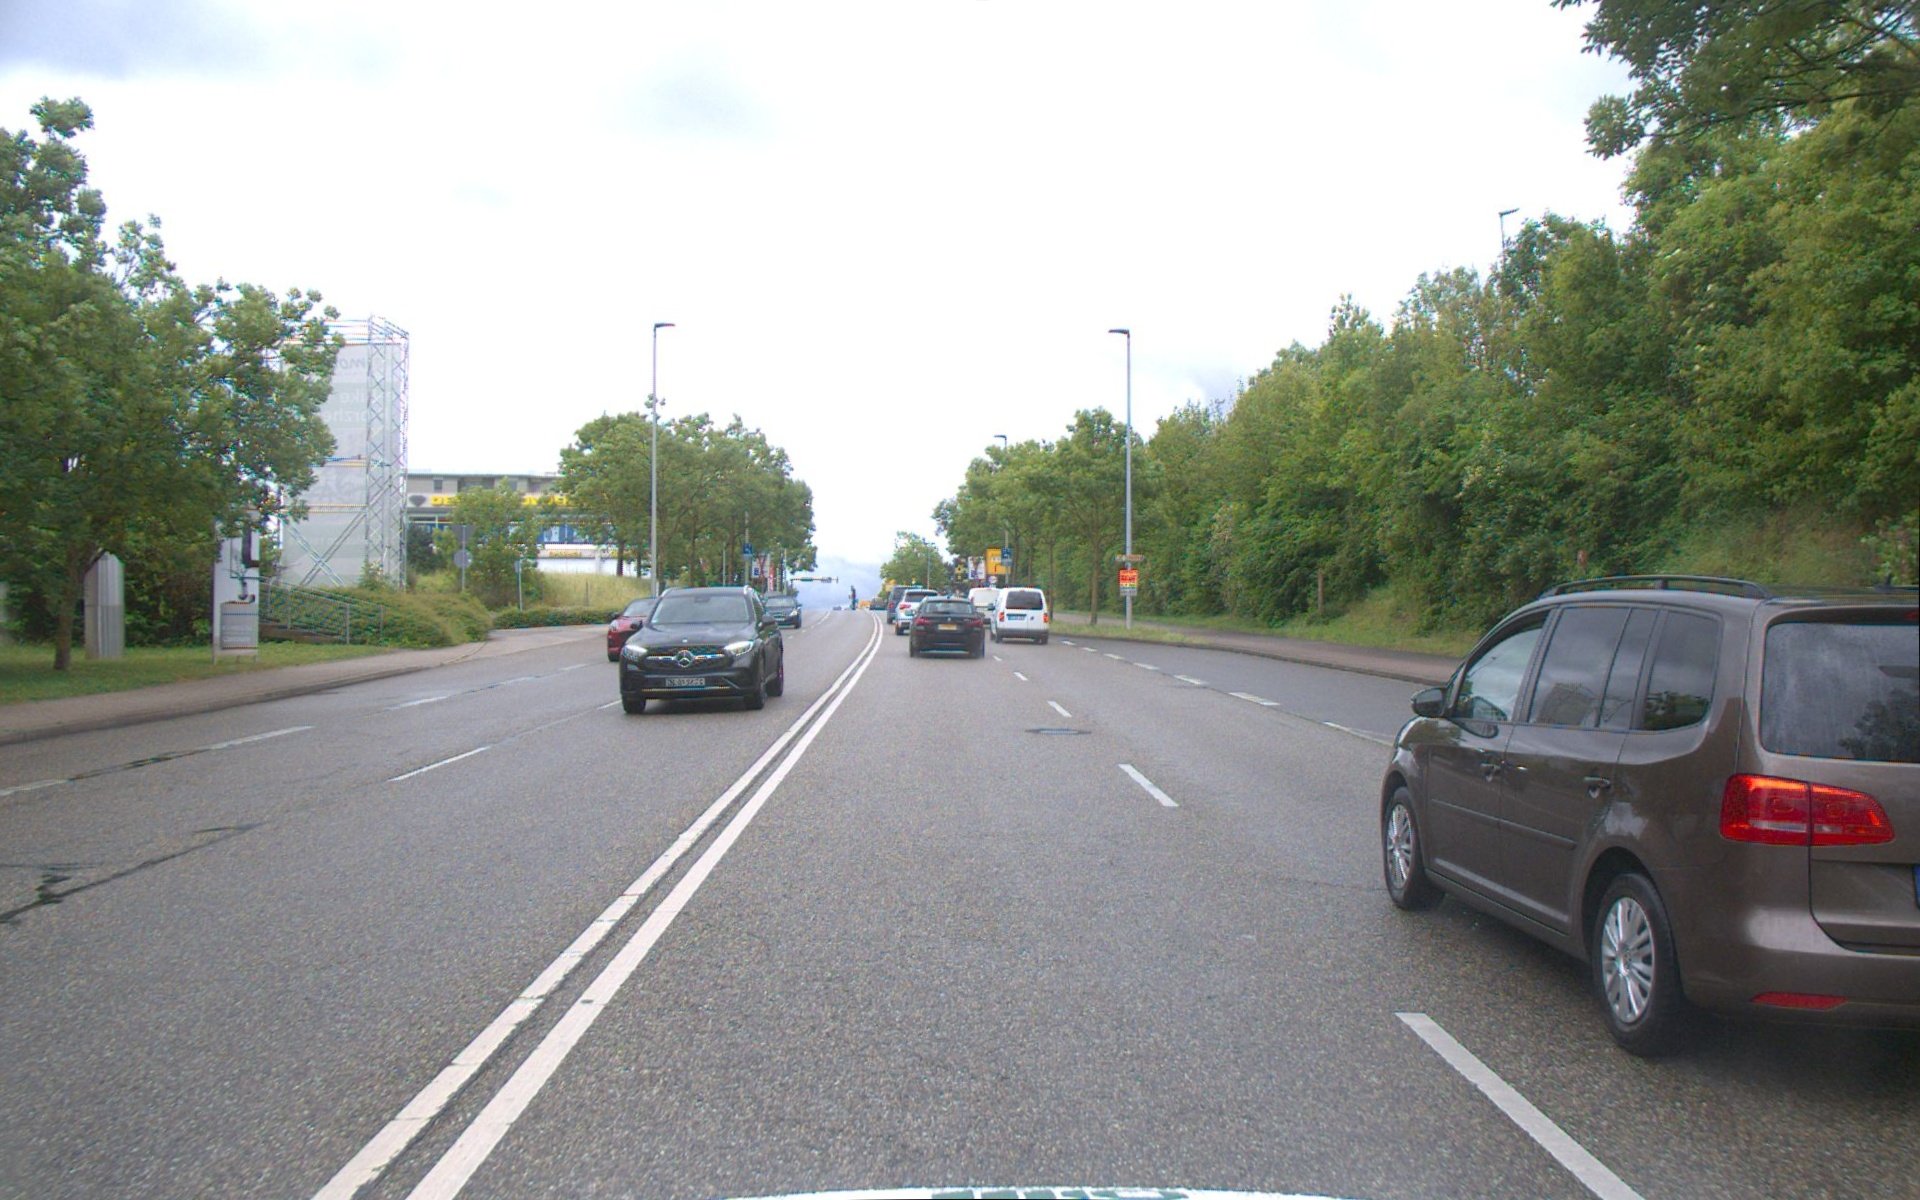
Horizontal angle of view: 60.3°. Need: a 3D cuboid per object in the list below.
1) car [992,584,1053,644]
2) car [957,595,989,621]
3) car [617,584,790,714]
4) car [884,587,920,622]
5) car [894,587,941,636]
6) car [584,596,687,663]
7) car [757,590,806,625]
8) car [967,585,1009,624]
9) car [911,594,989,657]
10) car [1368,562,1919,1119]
[{"bbox_3d":[2.036,0.448,55.156,1.706,1.902,3.944,1,0,-2],"label":"car"},{"bbox_3d":[0.712,0.454,92.539,1.568,1.396,3.678,-1,0,-3],"label":"car"},{"bbox_3d":[-3.494,0.610,23.282,1.821,1.605,4.319,-2,0,-1],"label":"car"},{"bbox_3d":[-2.893,0.215,82.417,1.723,1.738,3.944,0,0,-2],"label":"car"},{"bbox_3d":[-1.555,0.418,61.494,1.693,1.741,3.382,1,0,-1],"label":"car"},{"bbox_3d":[-8.086,0.701,41.517,1.641,1.533,4.217,-1,0,1],"label":"car"},{"bbox_3d":[-8.211,0.330,76.301,1.701,1.479,4.001,-2,0,1],"label":"car"},{"bbox_3d":[1.288,0.196,77.431,1.778,1.738,3.944,0,0,-2],"label":"car"},{"bbox_3d":[-0.288,0.597,41.214,1.817,1.444,3.955,1,0,-2],"label":"car"},{"bbox_3d":[3.121,0.716,6.930,1.679,1.624,4.129,1,0,-2],"label":"car"}]
